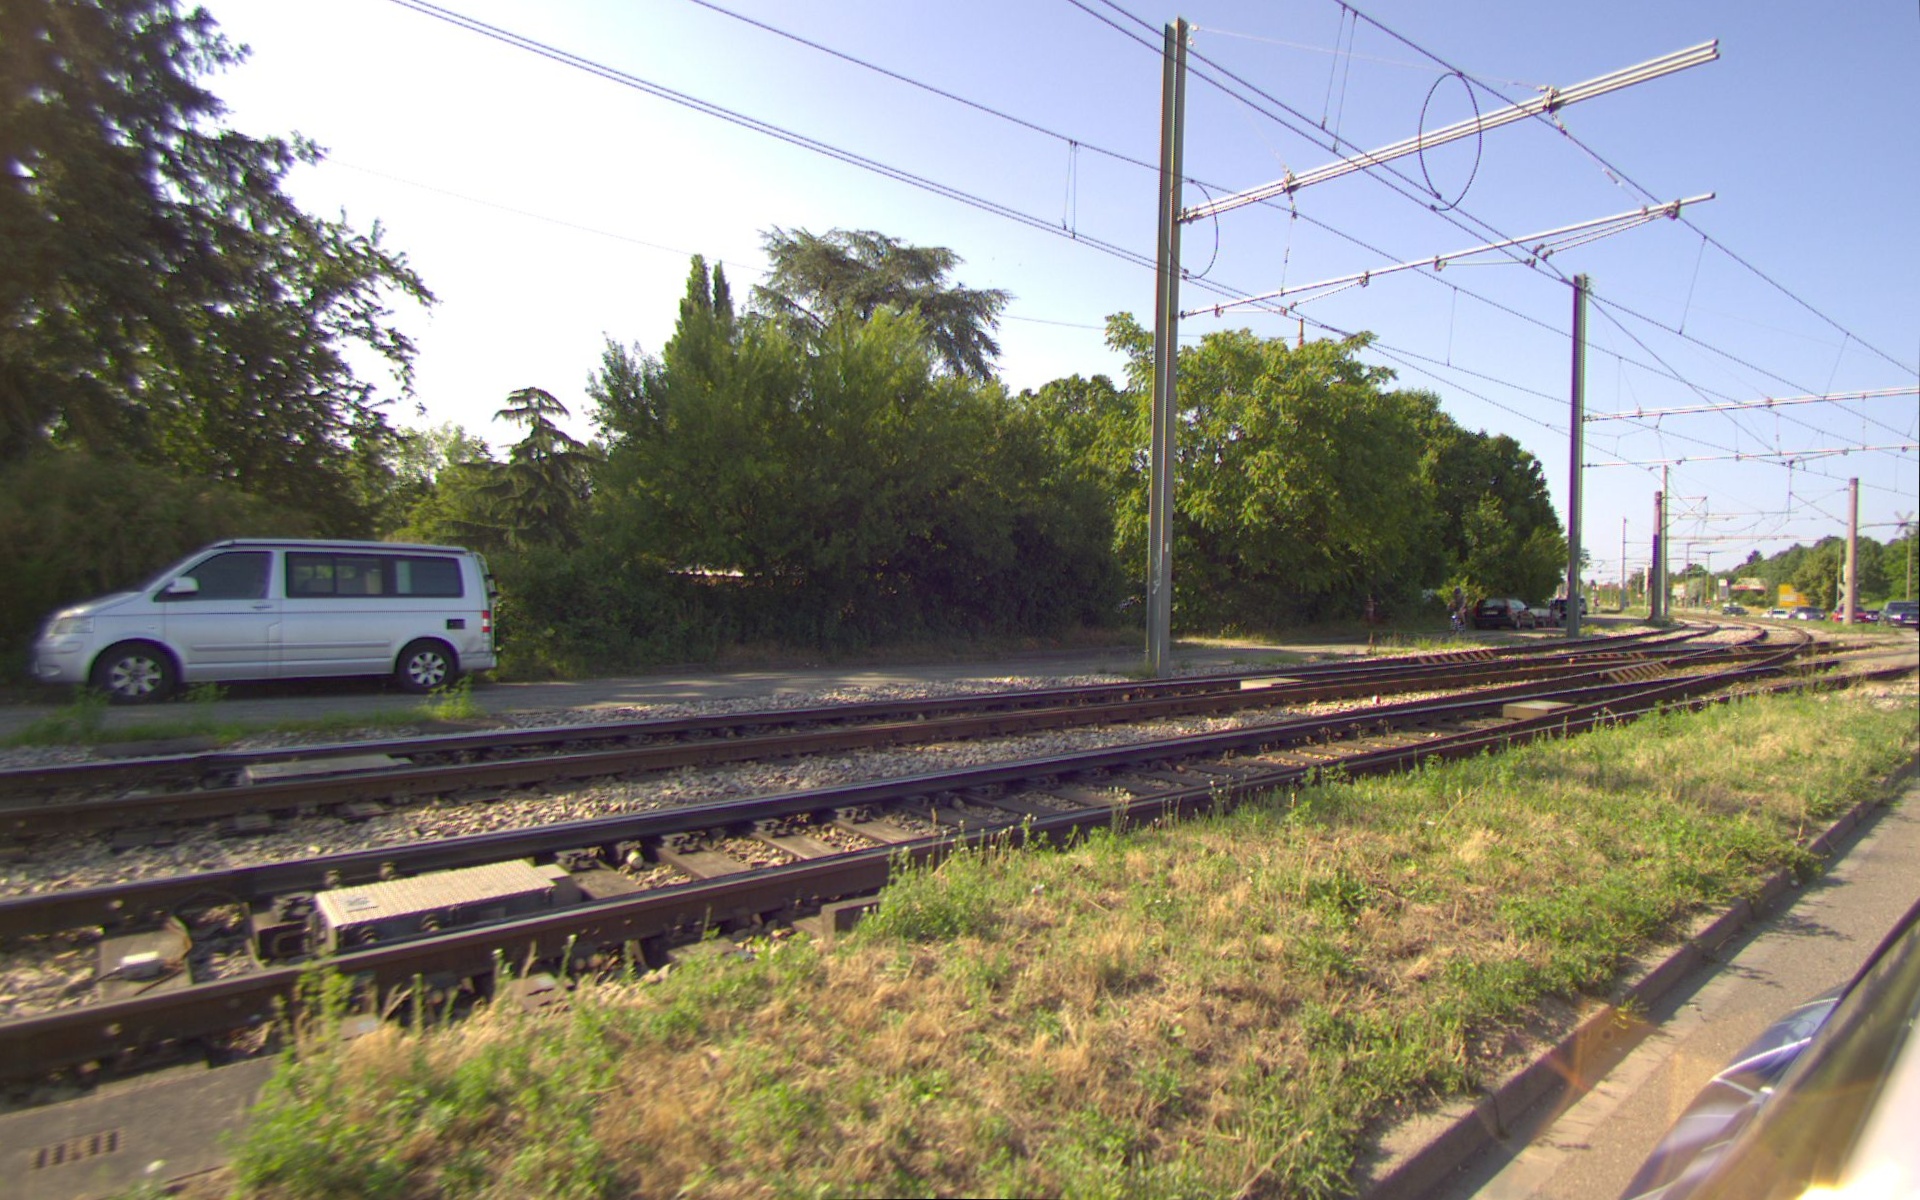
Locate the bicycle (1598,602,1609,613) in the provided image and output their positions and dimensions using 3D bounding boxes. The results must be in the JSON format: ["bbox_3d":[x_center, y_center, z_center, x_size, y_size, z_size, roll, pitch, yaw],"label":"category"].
[{"bbox_3d":[58.257,0.673,91.601,0.639,0.921,1.796,0,0,28],"label":"bicycle"}]

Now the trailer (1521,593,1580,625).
[{"bbox_3d":[31.227,0.491,53.477,2.023,1.617,4.197,-2,-1,40],"label":"trailer"}]

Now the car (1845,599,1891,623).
[{"bbox_3d":[63.376,0.779,70.667,1.836,1.616,3.693,0,-1,33],"label":"car"}]

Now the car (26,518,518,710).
[{"bbox_3d":[-8.624,0.169,13.093,4.978,2.030,1.996,0,-2,-41],"label":"car"}]

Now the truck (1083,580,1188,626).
[{"bbox_3d":[7.712,0.117,44.133,1.993,1.878,5.325,1,0,42],"label":"truck"}]

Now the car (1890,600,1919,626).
[{"bbox_3d":[51.660,0.679,54.372,1.836,1.373,4.104,0,-1,33],"label":"car"}]

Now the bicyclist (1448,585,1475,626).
[{"bbox_3d":[17.887,0.198,36.087,0.629,1.440,0.947,0,0,43],"label":"bicyclist"}]

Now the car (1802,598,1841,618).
[{"bbox_3d":[71.271,0.652,83.744,1.595,1.532,4.224,2,2,29],"label":"car"}]

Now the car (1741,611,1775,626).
[{"bbox_3d":[84.520,1.920,107.249,1.818,1.532,4.118,0,-1,24],"label":"car"}]

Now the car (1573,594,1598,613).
[{"bbox_3d":[57.946,0.352,93.781,1.513,1.630,4.441,2,1,27],"label":"car"}]

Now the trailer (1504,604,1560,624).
[{"bbox_3d":[28.580,0.690,50.496,1.729,0.951,3.673,-2,-2,41],"label":"trailer"}]

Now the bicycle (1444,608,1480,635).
[{"bbox_3d":[17.934,0.747,36.143,0.642,0.921,1.815,1,0,43],"label":"bicycle"}]

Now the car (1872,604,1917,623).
[{"bbox_3d":[73.342,1.024,79.480,1.684,1.458,4.239,1,0,29],"label":"car"}]

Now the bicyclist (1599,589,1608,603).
[{"bbox_3d":[58.300,-0.367,91.676,0.635,1.249,0.783,0,0,28],"label":"bicyclist"}]

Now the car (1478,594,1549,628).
[{"bbox_3d":[25.595,0.508,46.702,1.698,1.475,4.804,-2,-2,43],"label":"car"}]
